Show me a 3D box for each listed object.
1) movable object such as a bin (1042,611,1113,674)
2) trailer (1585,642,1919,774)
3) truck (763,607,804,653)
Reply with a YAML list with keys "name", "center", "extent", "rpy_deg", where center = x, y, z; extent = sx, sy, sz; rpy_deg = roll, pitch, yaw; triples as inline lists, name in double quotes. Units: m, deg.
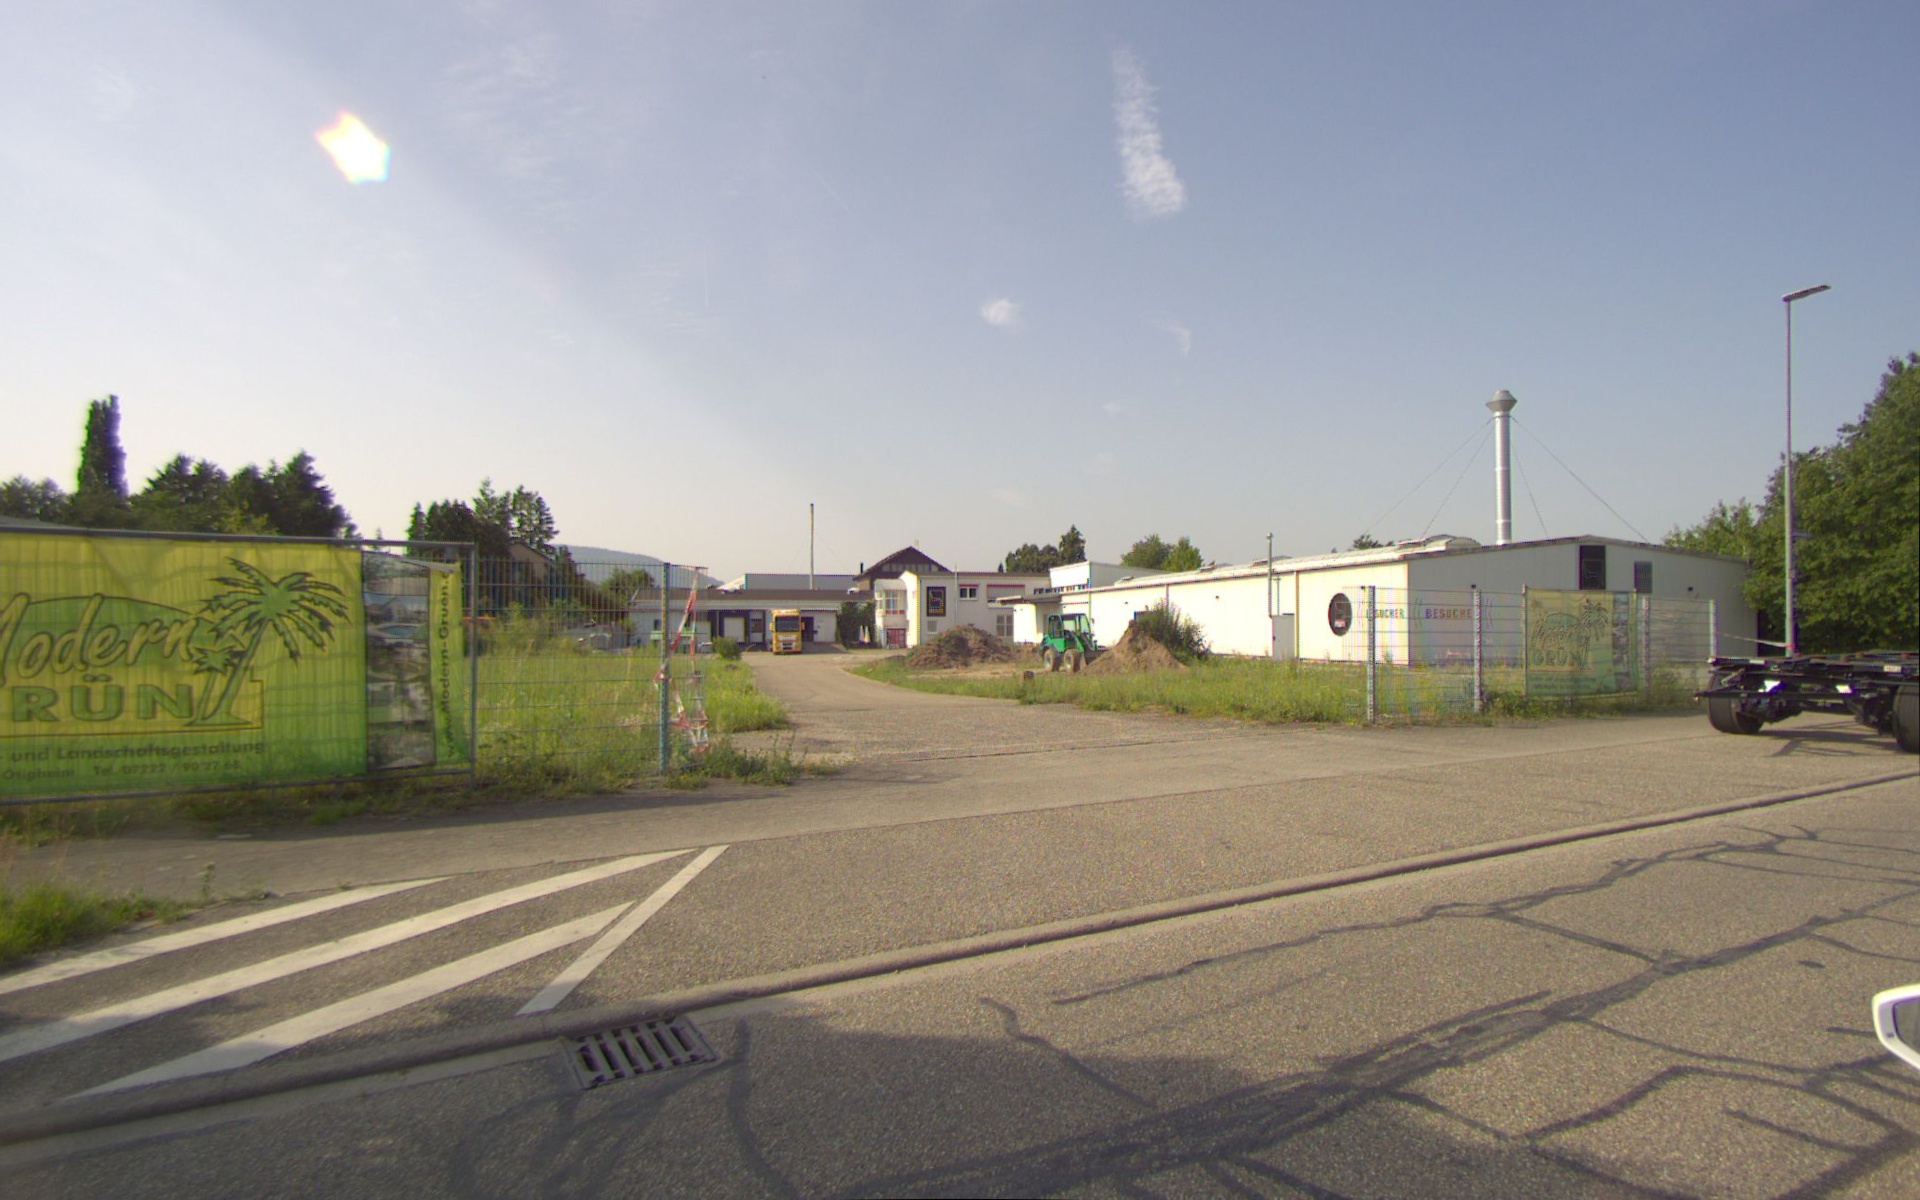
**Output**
- name: "movable object such as a bin"
  center: [4.835, 1.759, 42.028]
  extent: [2.209, 2.488, 4.304]
  rpy_deg: [0, -2, -4]
- name: "trailer"
  center: [12.393, 1.254, 13.777]
  extent: [9.254, 1.200, 2.569]
  rpy_deg: [1, 0, -31]
- name: "truck"
  center: [-16.025, 2.733, 90.697]
  extent: [2.853, 3.938, 7.562]
  rpy_deg: [0, -2, -16]
